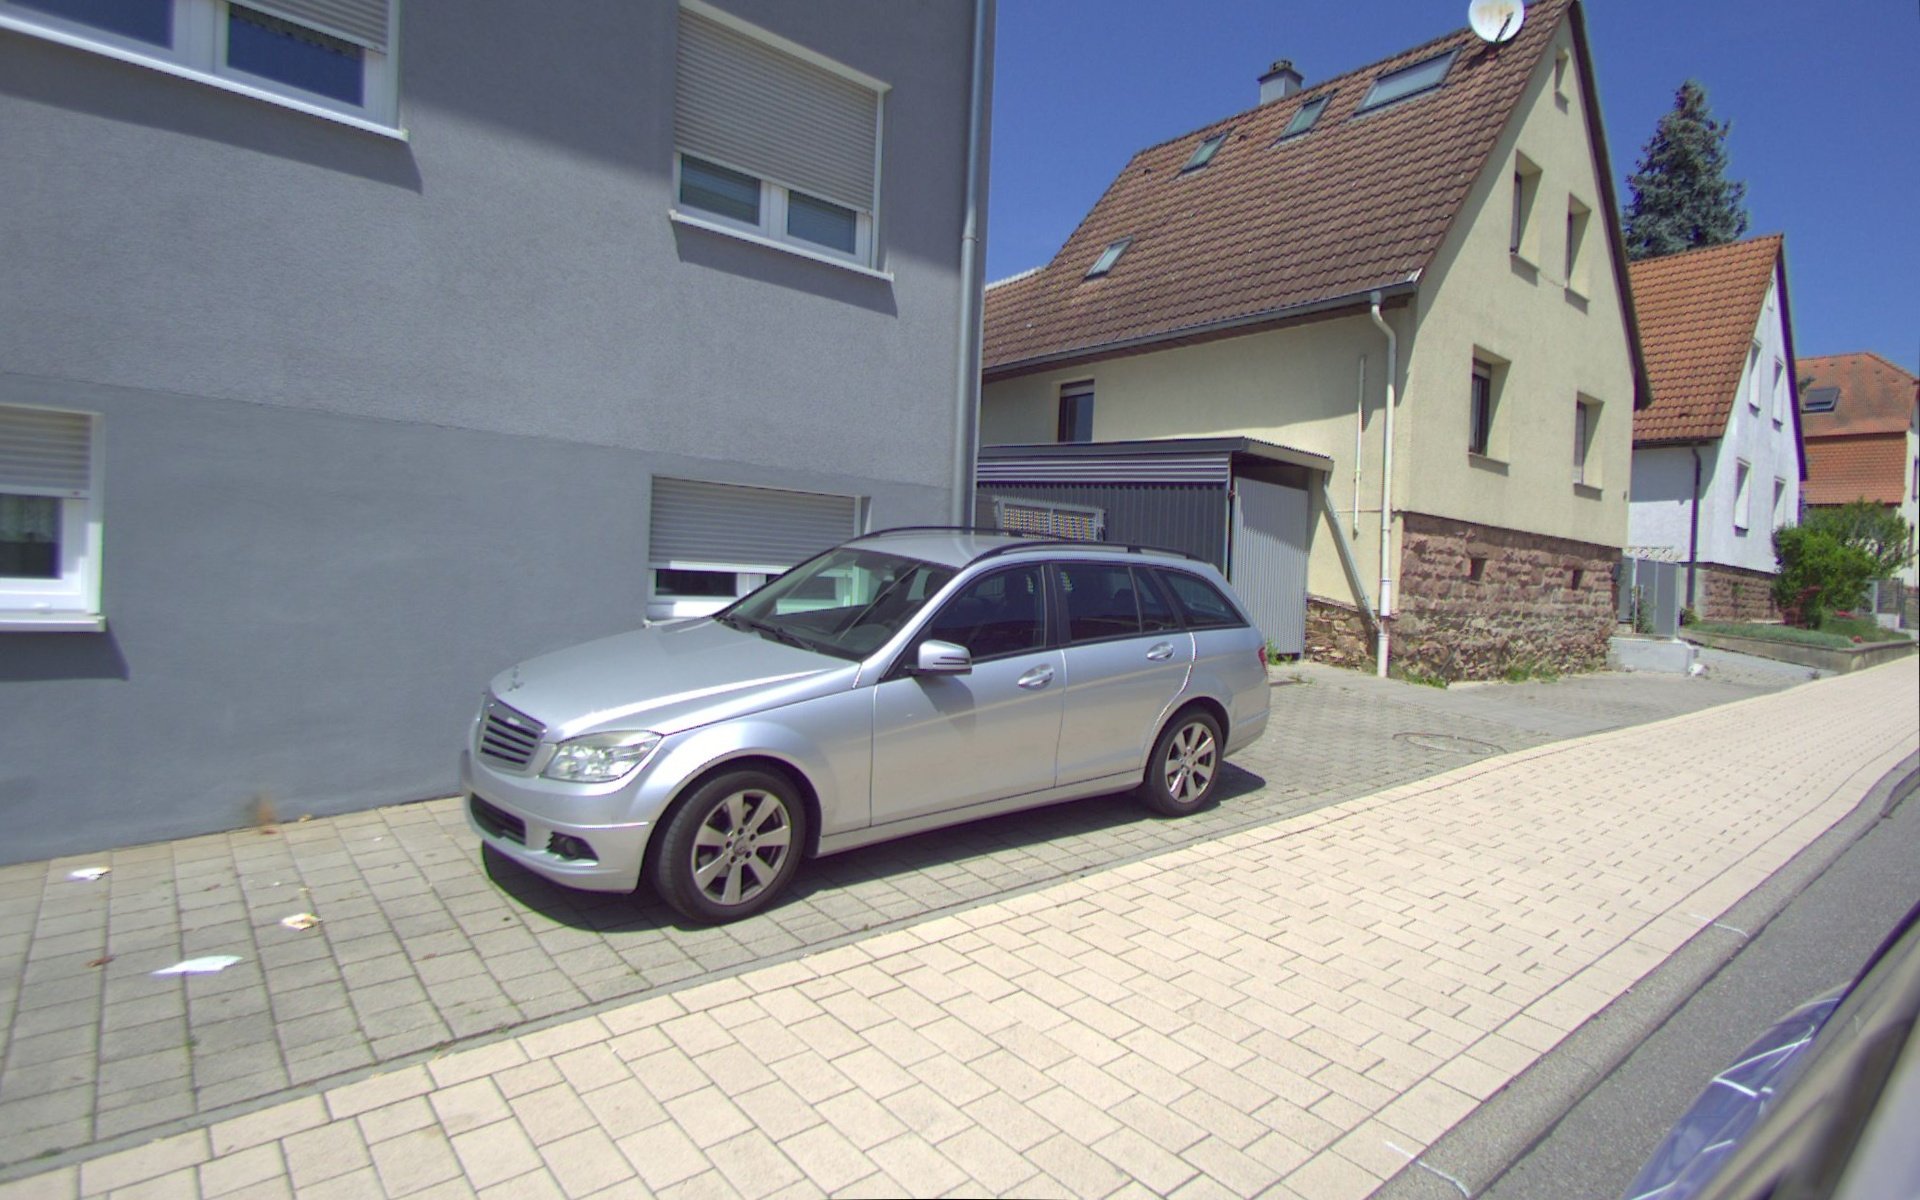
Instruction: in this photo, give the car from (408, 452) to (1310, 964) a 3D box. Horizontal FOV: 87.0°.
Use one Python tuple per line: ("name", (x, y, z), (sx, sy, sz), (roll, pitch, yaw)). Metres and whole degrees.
("car", (-0.247, 0.250, 5.353), (4.428, 1.640, 1.868), (-1, 5, -40))
